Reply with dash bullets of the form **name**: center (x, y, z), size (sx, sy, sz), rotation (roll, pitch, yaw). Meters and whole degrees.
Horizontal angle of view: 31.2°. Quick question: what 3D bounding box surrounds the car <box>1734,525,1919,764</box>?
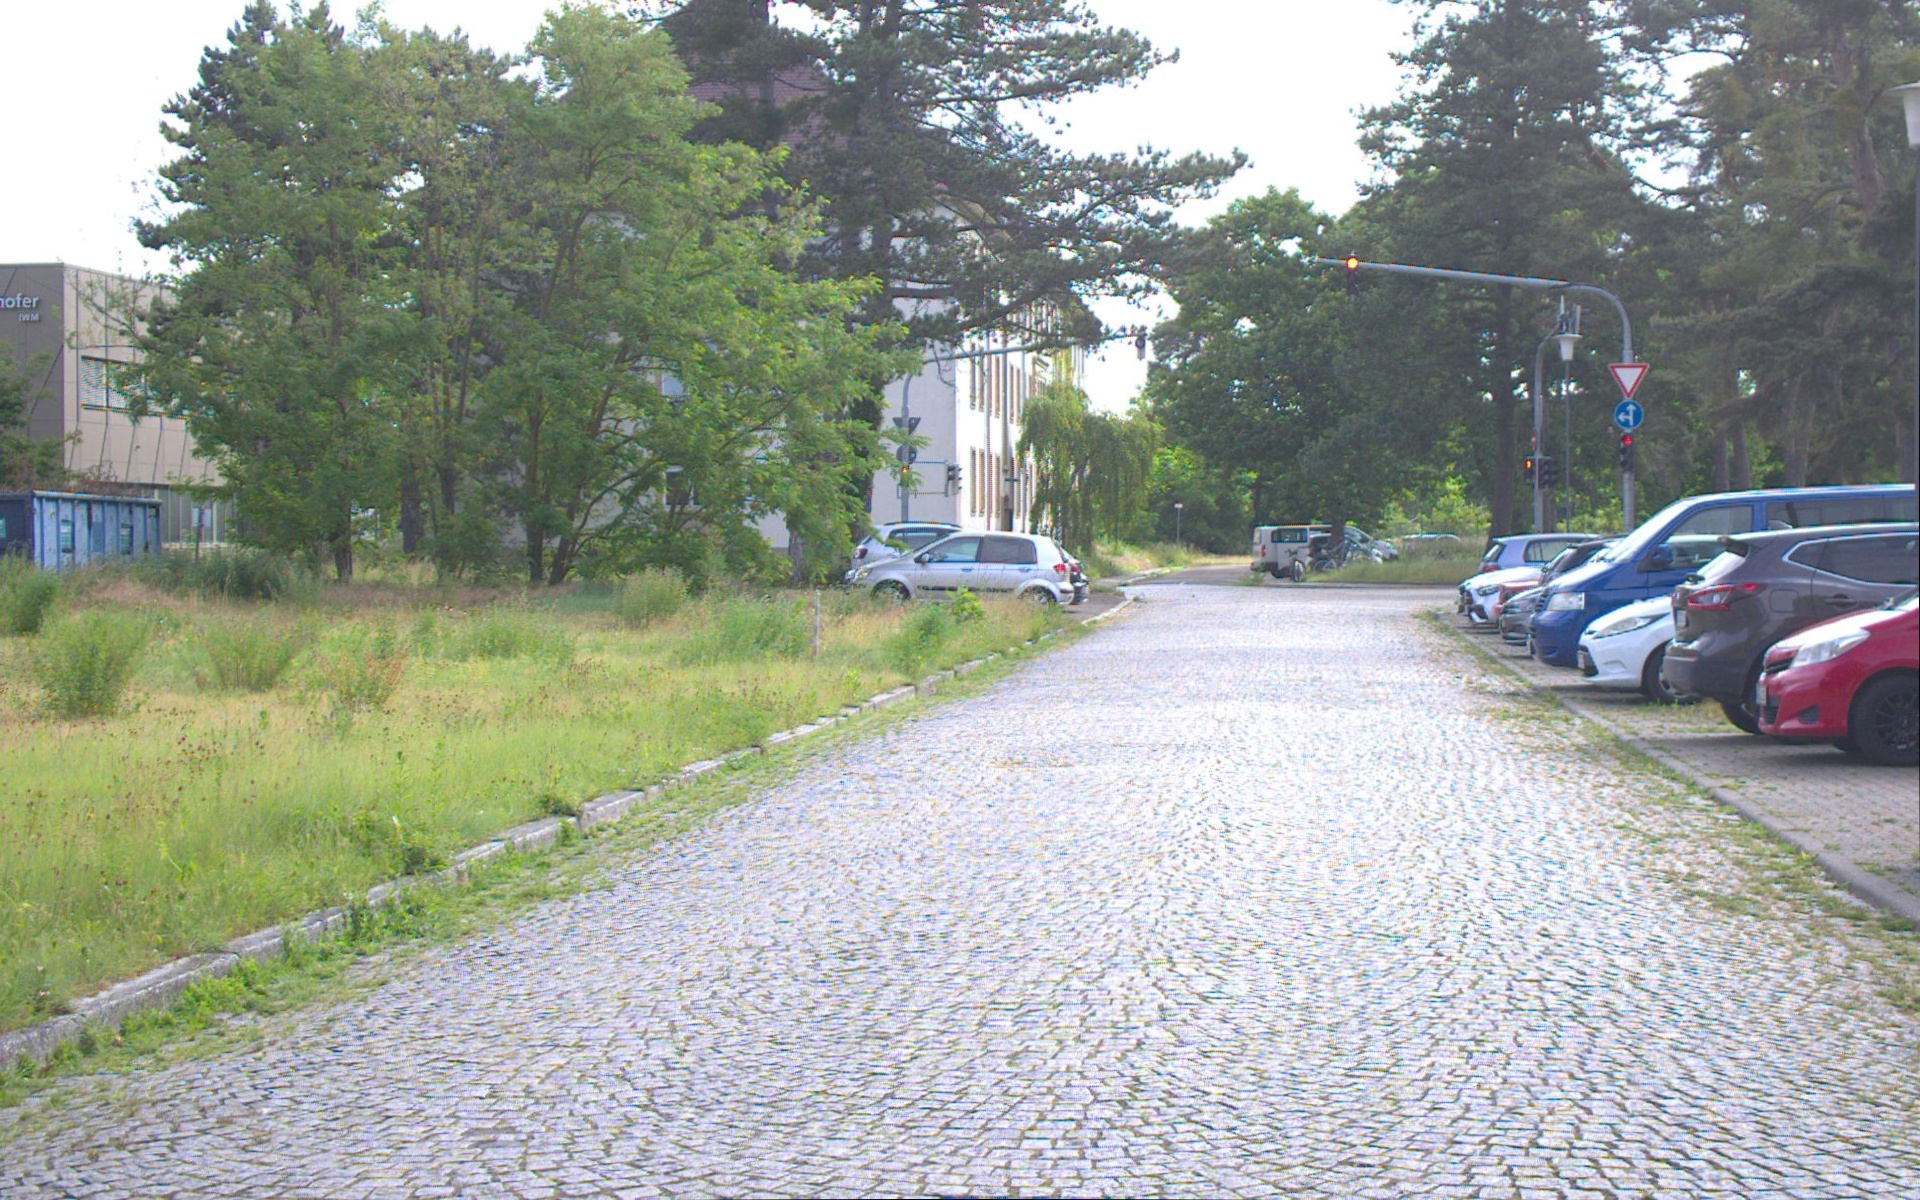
- **car**: center (7.231, 0.267, 22.618), size (3.988, 1.513, 1.738), rotation (0, 1, 6)

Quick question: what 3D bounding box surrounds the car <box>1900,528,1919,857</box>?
- **car**: center (6.254, 0.411, 15.073), size (3.840, 1.500, 1.738), rotation (-1, 1, 5)

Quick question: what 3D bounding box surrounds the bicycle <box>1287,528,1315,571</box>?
- **bicycle**: center (10.247, -1.520, 103.298), size (0.810, 1.264, 1.972), rotation (0, 1, 7)

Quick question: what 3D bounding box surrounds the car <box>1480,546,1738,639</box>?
- **car**: center (9.046, -0.113, 48.061), size (3.292, 1.263, 1.664), rotation (0, 1, 0)

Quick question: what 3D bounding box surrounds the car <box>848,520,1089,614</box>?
- **car**: center (0.140, -0.569, 58.023), size (3.987, 1.546, 2.000), rotation (0, 1, 0)

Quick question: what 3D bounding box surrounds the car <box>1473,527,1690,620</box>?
- **car**: center (10.437, -0.461, 57.829), size (3.389, 1.538, 1.391), rotation (0, 1, 0)

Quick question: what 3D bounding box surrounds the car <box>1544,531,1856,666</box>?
- **car**: center (8.448, -0.035, 39.446), size (3.292, 1.499, 1.664), rotation (0, 1, 4)

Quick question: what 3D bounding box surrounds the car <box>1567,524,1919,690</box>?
- **car**: center (7.587, 0.045, 31.695), size (3.723, 1.419, 1.654), rotation (-1, 1, 3)

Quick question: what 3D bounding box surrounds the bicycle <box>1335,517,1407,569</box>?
- **bicycle**: center (12.909, -1.792, 108.097), size (2.160, 1.610, 0.812), rotation (0, 1, 0)

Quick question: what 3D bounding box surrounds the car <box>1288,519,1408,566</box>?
- **car**: center (13.662, -2.030, 121.336), size (3.987, 1.638, 2.000), rotation (0, 1, 0)

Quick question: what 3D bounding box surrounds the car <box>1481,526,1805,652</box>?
- **car**: center (8.413, -0.152, 42.502), size (3.597, 1.501, 1.664), rotation (0, 1, -5)

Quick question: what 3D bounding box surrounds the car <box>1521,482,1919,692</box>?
- **car**: center (8.067, -0.148, 34.131), size (4.783, 2.033, 1.738), rotation (0, 1, 4)

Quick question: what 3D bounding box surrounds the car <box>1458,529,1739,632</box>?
- **car**: center (9.732, -0.312, 52.574), size (3.987, 1.538, 1.664), rotation (0, 1, 0)

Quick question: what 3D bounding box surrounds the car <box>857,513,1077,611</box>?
- **car**: center (0.102, -0.713, 63.463), size (3.987, 1.744, 1.927), rotation (0, 1, -1)

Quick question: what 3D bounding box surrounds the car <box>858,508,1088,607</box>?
- **car**: center (0.219, -0.762, 60.600), size (3.987, 1.700, 2.000), rotation (0, 1, 0)

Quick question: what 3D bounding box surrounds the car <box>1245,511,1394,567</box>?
- **car**: center (13.018, -2.219, 124.696), size (5.050, 2.007, 2.000), rotation (0, 1, -4)

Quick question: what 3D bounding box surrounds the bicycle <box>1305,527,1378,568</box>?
- **bicycle**: center (11.860, -1.627, 106.906), size (2.160, 1.264, 0.812), rotation (0, 1, 0)

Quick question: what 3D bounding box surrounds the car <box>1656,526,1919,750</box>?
- **car**: center (7.230, 0.258, 25.241), size (3.951, 1.575, 1.762), rotation (0, 1, 4)

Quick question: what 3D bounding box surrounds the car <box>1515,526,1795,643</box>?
- **car**: center (9.154, -0.219, 45.411), size (3.292, 1.499, 1.664), rotation (0, 1, -5)

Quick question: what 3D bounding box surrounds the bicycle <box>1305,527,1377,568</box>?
- **bicycle**: center (11.913, -1.633, 107.491), size (2.160, 1.264, 0.812), rotation (0, 1, 0)
